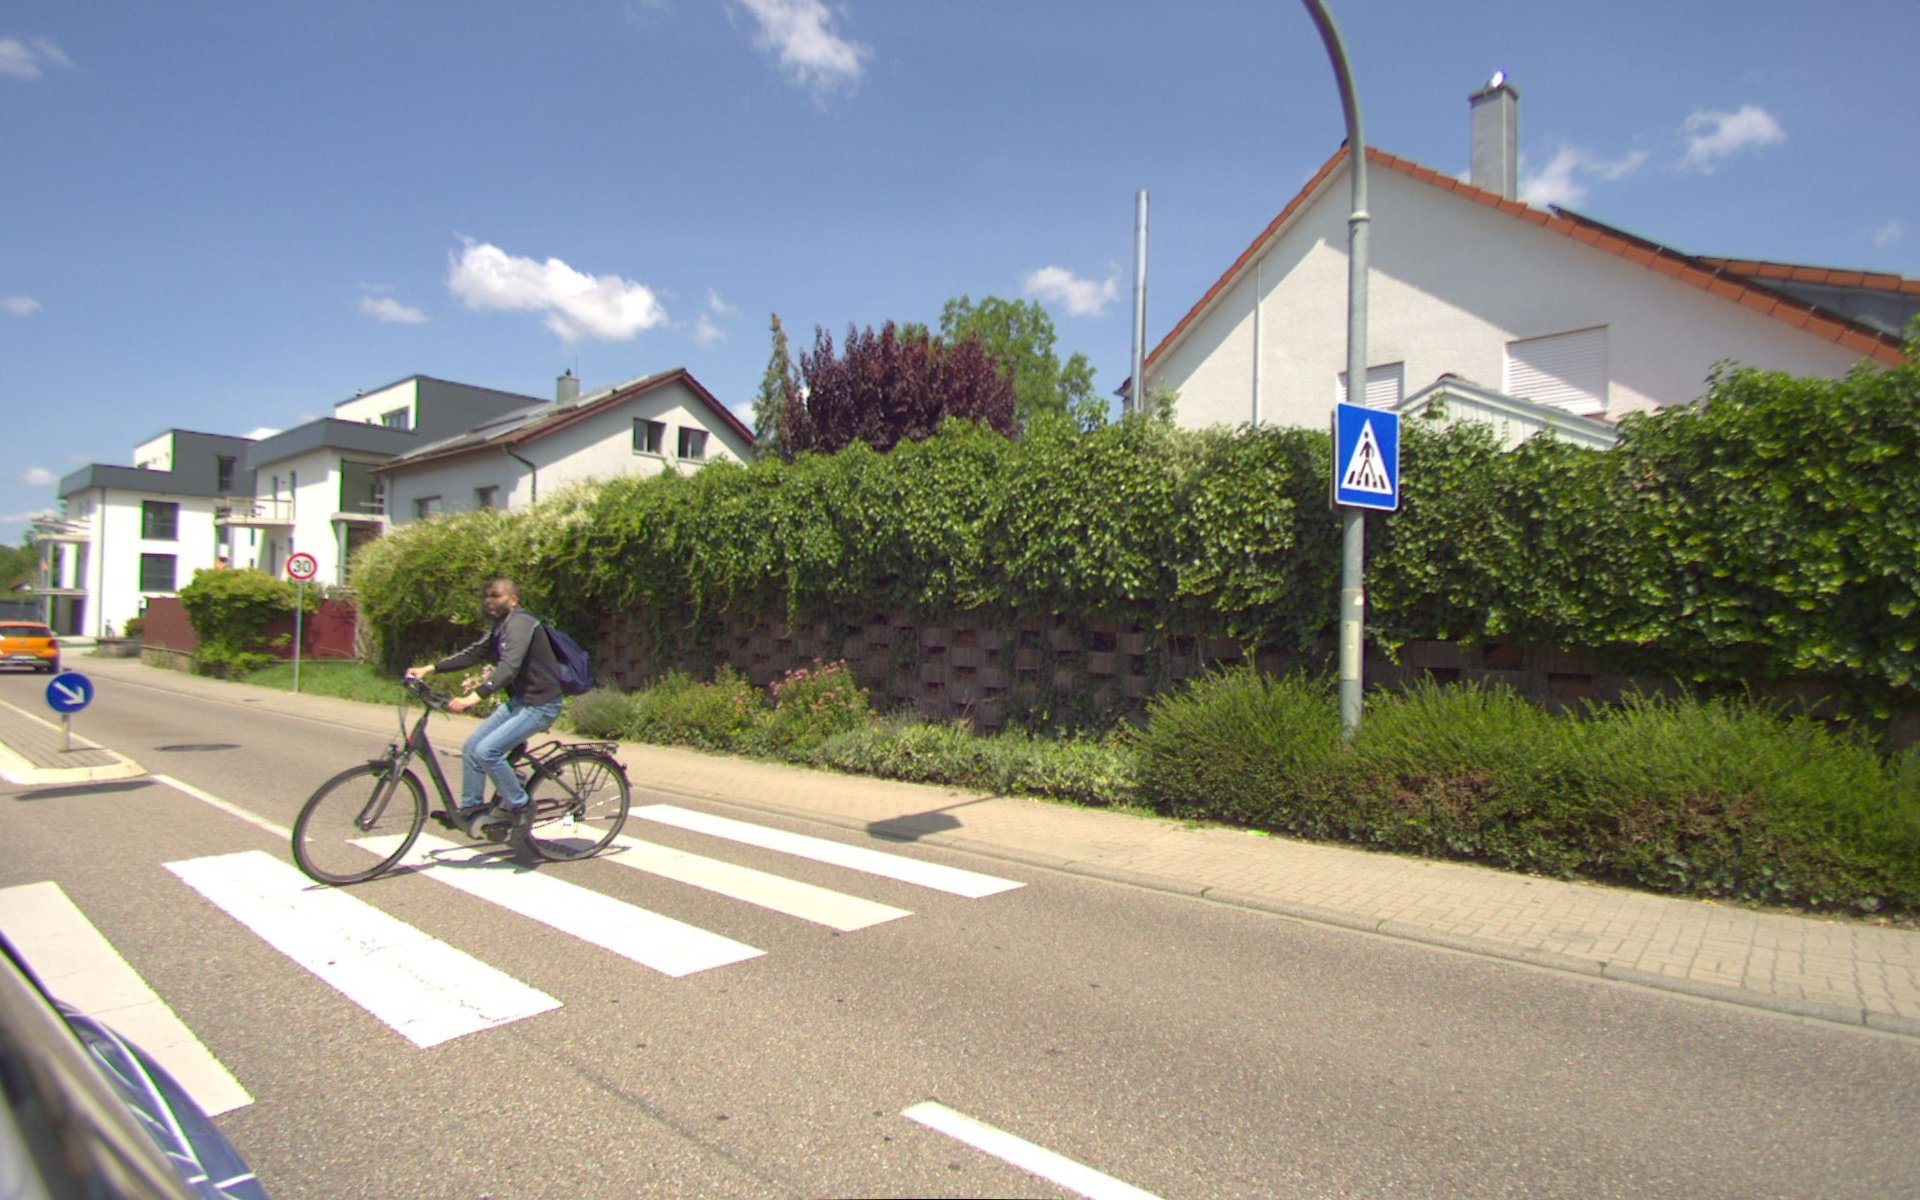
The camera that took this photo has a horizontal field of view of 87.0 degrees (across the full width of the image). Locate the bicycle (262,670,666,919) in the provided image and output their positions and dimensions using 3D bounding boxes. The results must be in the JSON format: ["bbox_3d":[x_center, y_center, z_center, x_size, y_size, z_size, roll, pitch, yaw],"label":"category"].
[{"bbox_3d":[-2.798,1.008,5.884,0.806,1.174,1.915,-2,-4,44],"label":"bicycle"}]

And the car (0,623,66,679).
[{"bbox_3d":[-26.870,1.412,28.658,3.611,1.500,1.776,-1,-4,41],"label":"car"}]

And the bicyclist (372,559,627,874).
[{"bbox_3d":[-2.696,0.636,5.965,0.806,1.642,1.095,-2,-4,44],"label":"bicyclist"}]
